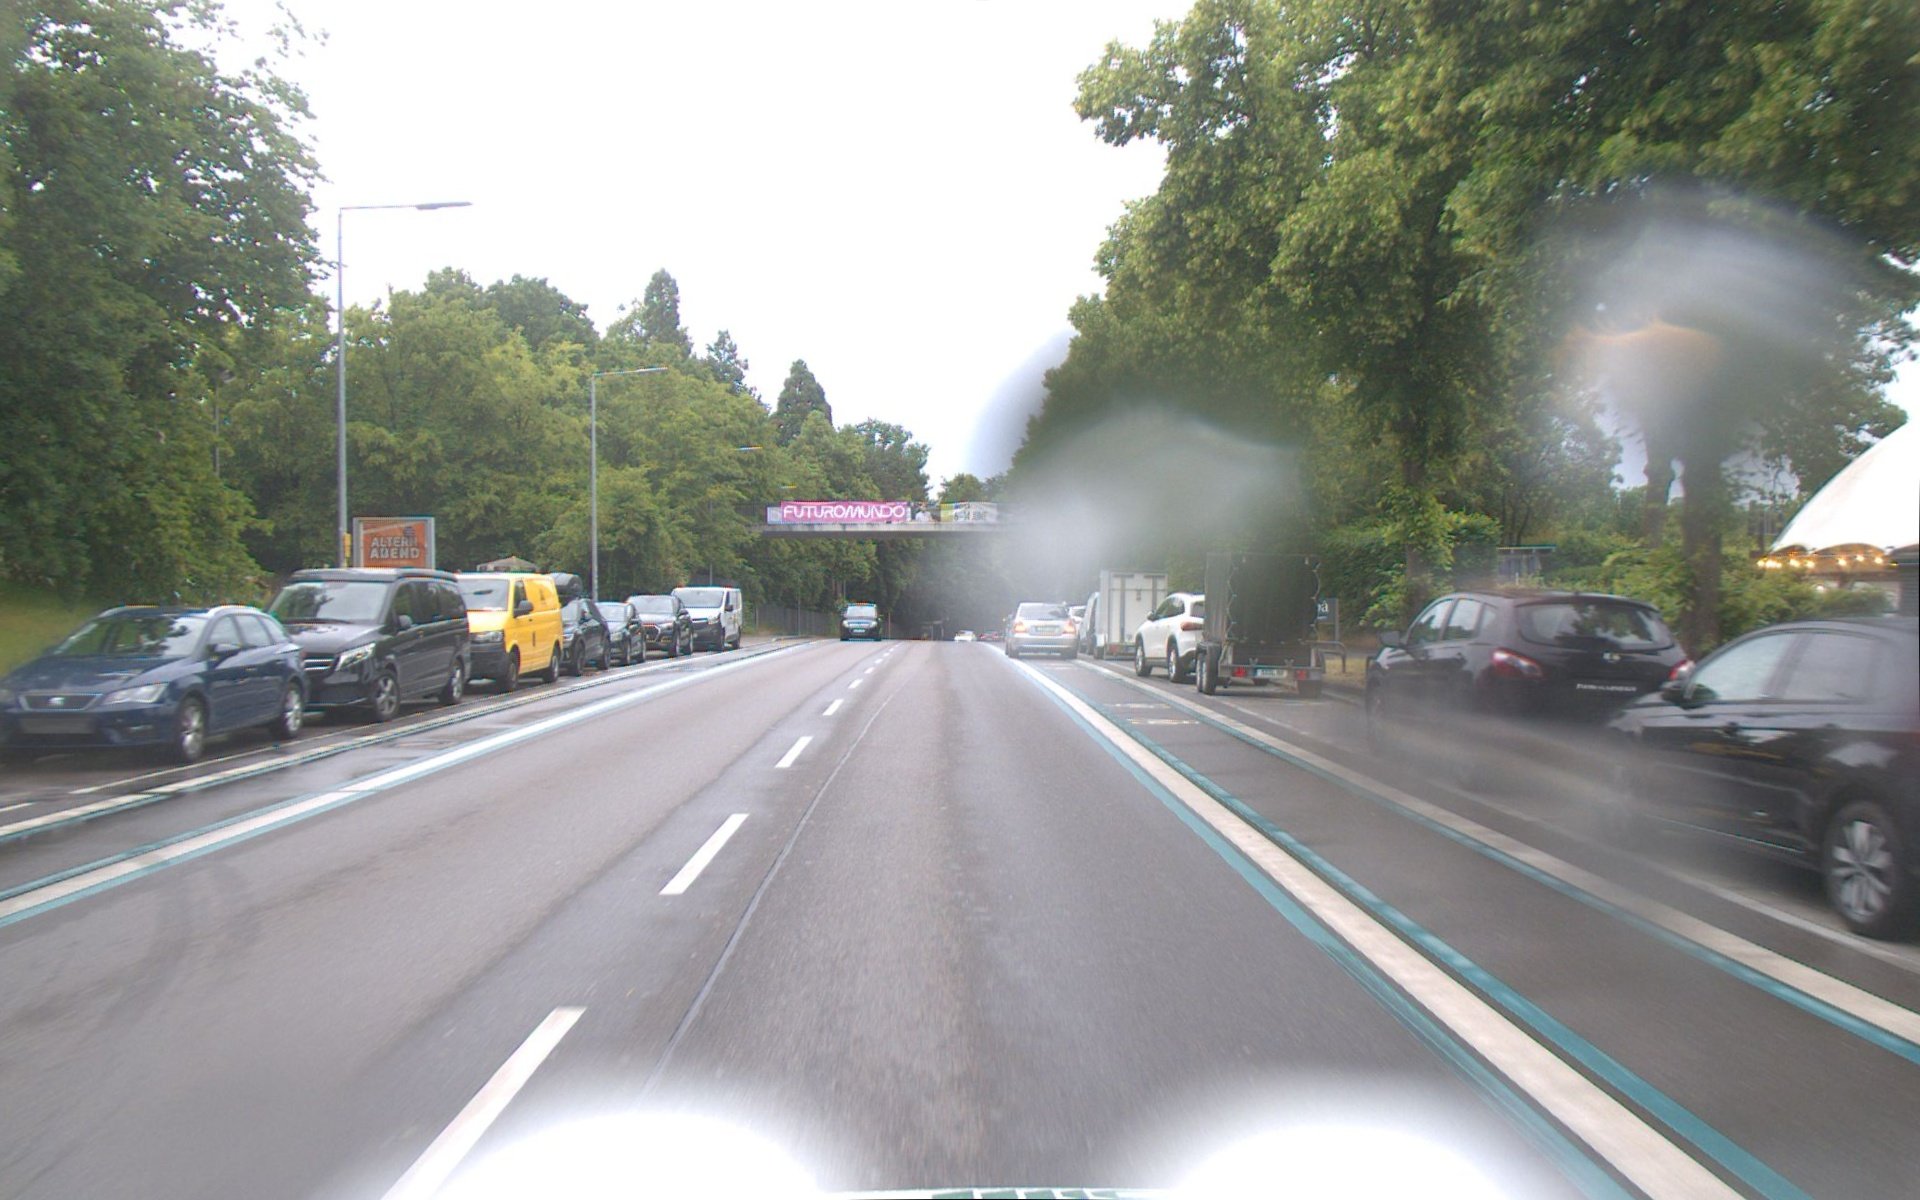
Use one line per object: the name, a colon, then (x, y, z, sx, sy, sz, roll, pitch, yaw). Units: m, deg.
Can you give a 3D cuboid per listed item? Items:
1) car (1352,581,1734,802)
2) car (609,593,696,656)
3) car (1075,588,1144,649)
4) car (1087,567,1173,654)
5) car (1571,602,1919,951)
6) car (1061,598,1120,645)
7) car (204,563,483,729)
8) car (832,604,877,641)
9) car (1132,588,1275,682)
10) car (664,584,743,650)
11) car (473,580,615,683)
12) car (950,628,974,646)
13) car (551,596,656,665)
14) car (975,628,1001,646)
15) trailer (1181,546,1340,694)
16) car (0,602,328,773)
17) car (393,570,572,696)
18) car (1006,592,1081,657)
car: (4.866, 0.676, 14.475, 1.696, 1.611, 4.152, 2, 0, -3)
car: (-8.317, 0.634, 45.046, 1.833, 1.569, 4.052, 0, 1, -4)
car: (4.363, 0.501, 48.679, 1.695, 1.713, 4.045, 0, 0, 0)
car: (4.408, 0.259, 43.344, 1.850, 2.164, 4.045, 0, 0, 0)
car: (4.955, 0.782, 8.872, 1.696, 1.489, 4.070, 1, 0, -3)
car: (4.352, 0.683, 55.535, 1.695, 1.488, 4.045, 0, 0, 0)
car: (-8.087, 0.494, 22.287, 1.950, 1.980, 5.141, 0, 1, -2)
car: (-4.563, 0.961, 71.550, 1.832, 1.499, 4.051, -1, 0, -4)
car: (4.445, 0.594, 30.783, 1.697, 1.611, 4.149, 0, 0, -6)
car: (-8.084, 0.503, 52.491, 1.721, 1.965, 4.194, 0, 1, 2)
car: (-8.364, 0.573, 33.623, 1.950, 1.926, 4.053, 0, 1, -2)
car: (0.200, 3.583, 161.841, 1.948, 1.633, 4.057, 0, 0, 7)
car: (-8.358, 0.686, 39.125, 1.848, 1.476, 3.980, 0, 1, -4)
car: (2.597, 3.392, 153.107, 2.095, 1.518, 4.501, 0, 1, 5)
trailer: (4.751, 0.282, 26.674, 1.845, 2.203, 3.808, 0, 0, 0)
car: (-8.066, 0.777, 16.825, 1.696, 1.414, 4.369, 0, 1, -2)
car: (-8.106, 0.469, 28.547, 1.845, 1.979, 4.824, 0, 1, -2)
car: (2.180, 0.612, 43.912, 1.696, 1.611, 4.035, 0, 0, -1)
